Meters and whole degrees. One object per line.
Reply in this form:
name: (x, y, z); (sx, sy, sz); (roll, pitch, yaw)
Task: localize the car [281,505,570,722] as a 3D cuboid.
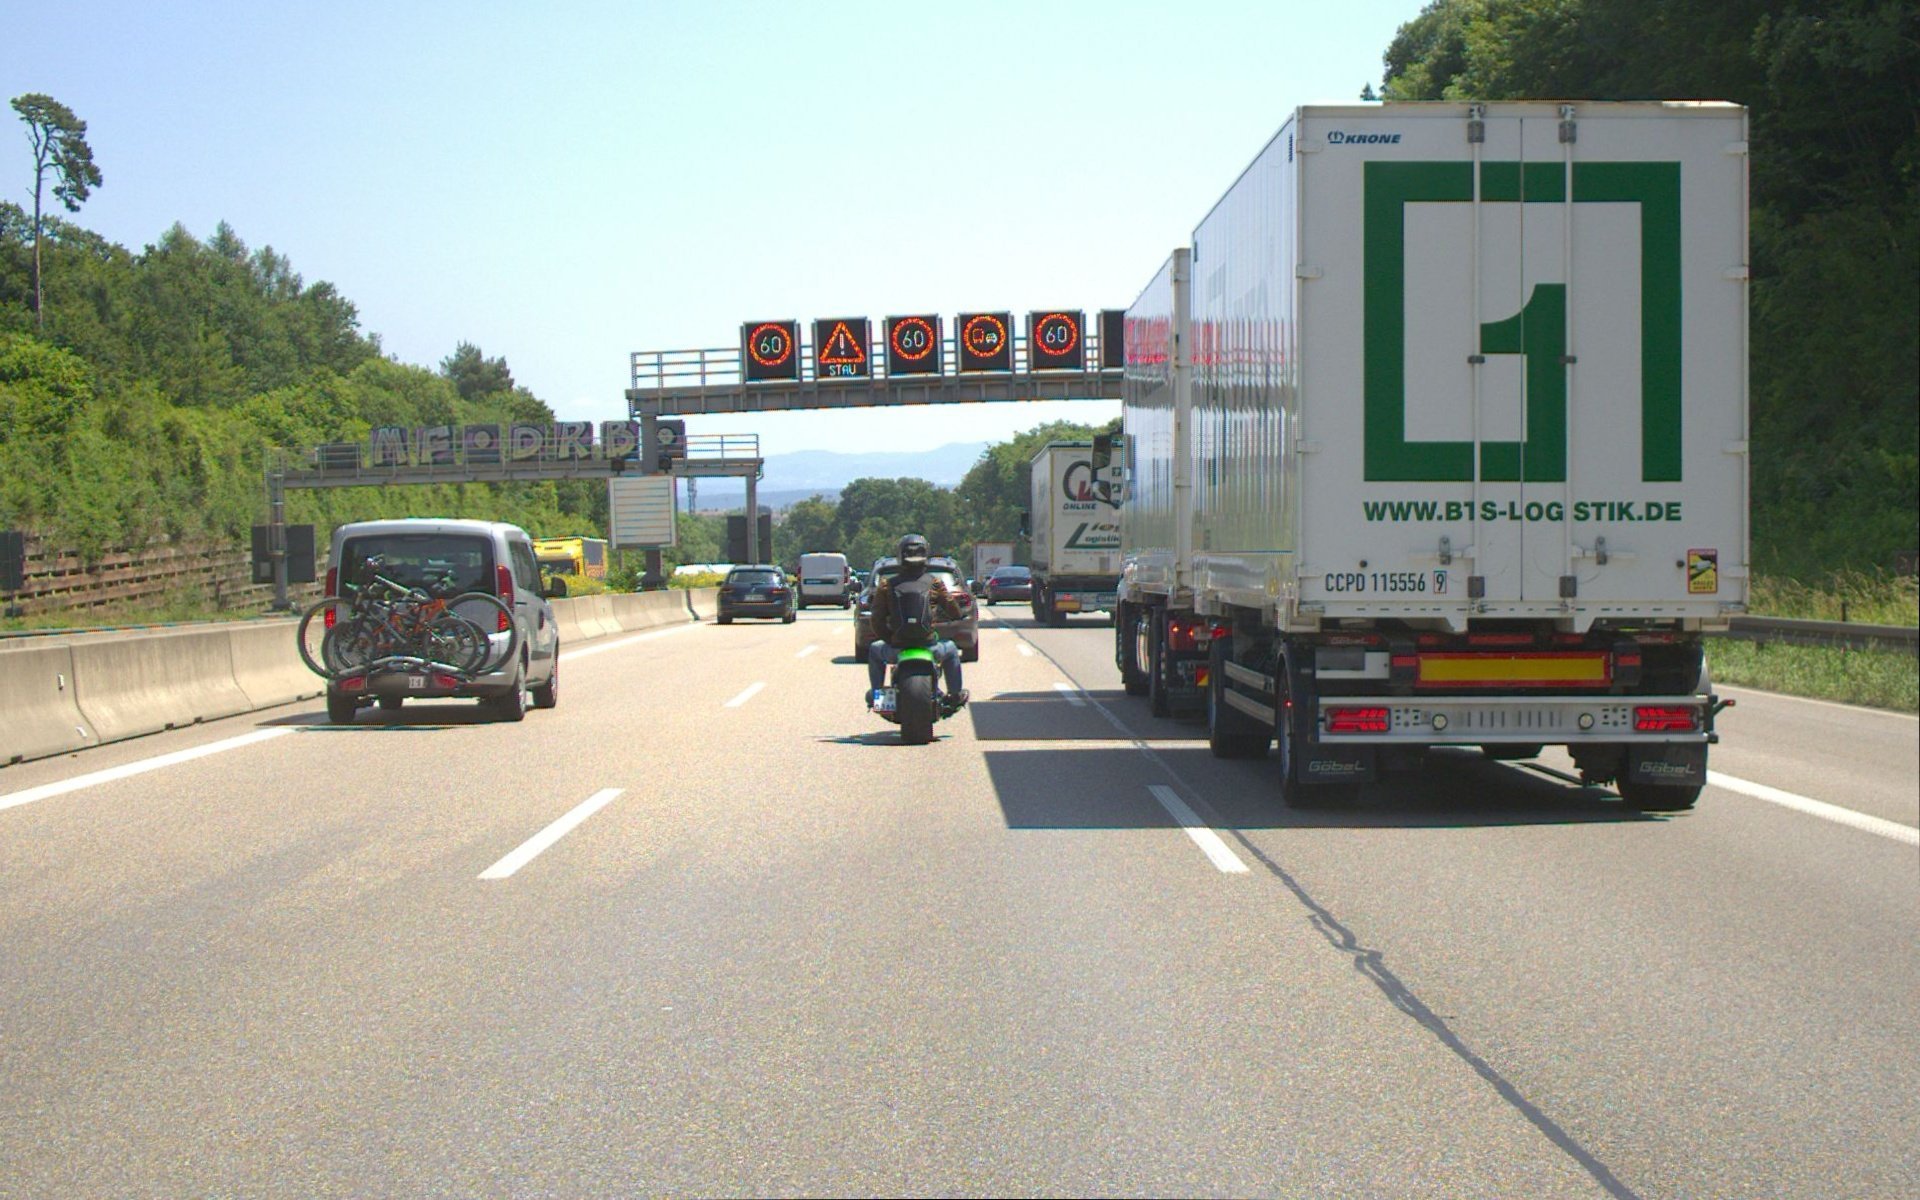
car: (-4.848, 0.108, 31.945); (1.898, 1.841, 5.483); (0, 0, -1)

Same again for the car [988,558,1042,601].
car: (1.983, -0.766, 124.878); (1.831, 1.521, 4.027); (0, 1, -1)

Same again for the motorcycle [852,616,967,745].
motorcycle: (-0.388, 0.628, 27.599); (0.862, 0.978, 2.130); (-1, 0, 1)

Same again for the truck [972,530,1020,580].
truck: (2.454, -3.075, 236.670); (3.067, 3.335, 9.652); (1, 1, 0)

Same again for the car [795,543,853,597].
car: (-4.580, -1.033, 115.915); (1.831, 1.804, 4.120); (0, 1, -1)

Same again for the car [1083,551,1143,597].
car: (5.158, -0.888, 116.312); (1.831, 1.521, 4.027); (0, 1, -1)

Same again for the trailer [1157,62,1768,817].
trailer: (3.064, -0.935, 24.012); (2.680, 4.161, 10.066); (0, 1, -1)

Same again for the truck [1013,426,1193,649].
truck: (3.173, -1.423, 82.004); (3.383, 4.702, 17.709); (1, 1, 0)

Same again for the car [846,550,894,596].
car: (-3.577, -1.103, 137.277); (1.831, 1.804, 4.120); (0, 1, -1)

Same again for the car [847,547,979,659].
car: (-0.680, 0.008, 50.007); (1.845, 1.552, 4.439); (0, 1, -1)

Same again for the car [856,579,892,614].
car: (-4.557, -0.197, 182.137); (1.831, 1.804, 4.120); (0, 1, -1)

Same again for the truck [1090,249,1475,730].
truck: (2.920, -0.985, 34.288); (2.680, 4.046, 10.626); (0, 1, -1)

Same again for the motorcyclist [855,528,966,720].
motorcyclist: (-0.391, 0.188, 27.635); (0.856, 1.510, 0.914); (-1, 0, 1)

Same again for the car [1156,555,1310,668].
car: (3.926, 0.134, 50.108); (1.845, 1.552, 4.392); (0, 1, -1)

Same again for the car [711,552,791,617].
car: (-5.093, -0.397, 84.256); (1.758, 1.538, 4.395); (0, 1, -1)
